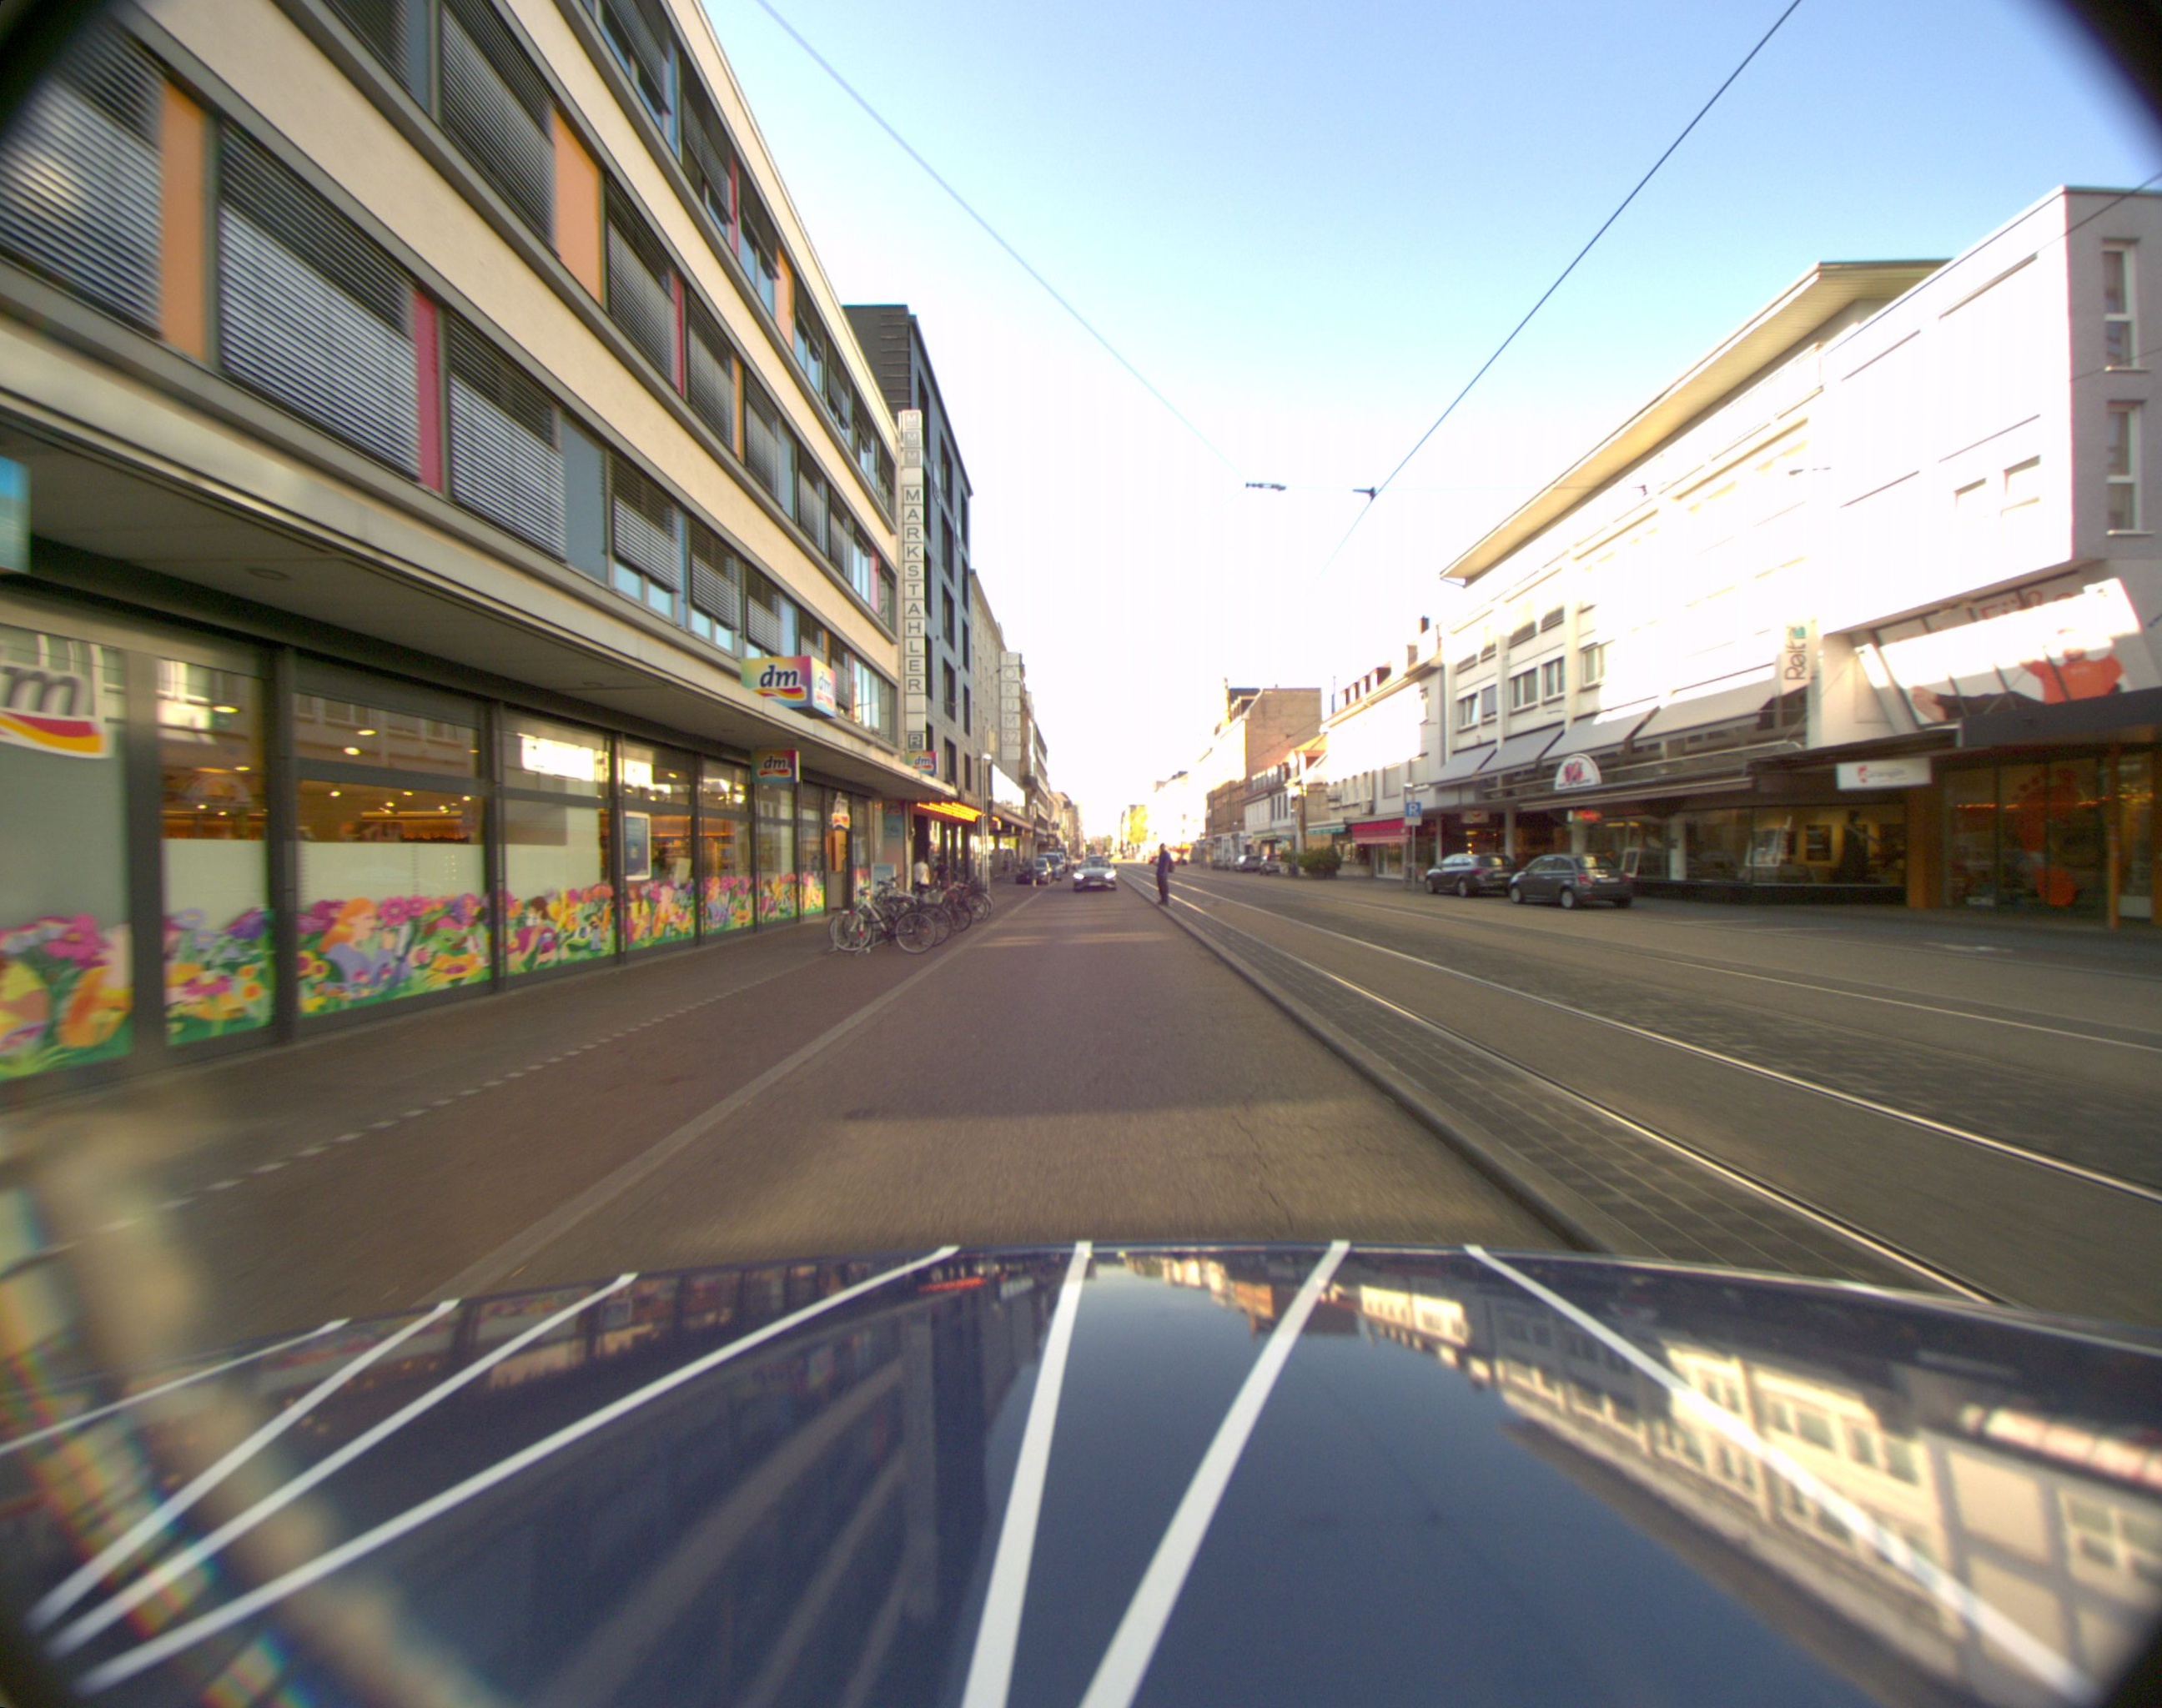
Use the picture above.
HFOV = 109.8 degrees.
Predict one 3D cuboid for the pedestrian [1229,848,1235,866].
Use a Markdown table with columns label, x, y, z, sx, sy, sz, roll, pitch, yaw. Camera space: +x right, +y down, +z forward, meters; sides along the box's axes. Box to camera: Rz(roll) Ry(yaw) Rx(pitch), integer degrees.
| label | x | y | z | sx | sy | sz | roll | pitch | yaw |
| --- | --- | --- | --- | --- | --- | --- | --- | --- | --- |
| pedestrian | 15.892 | 0.303 | 80.055 | 0.581 | 1.795 | 0.659 | -3 | 1 | 13 |

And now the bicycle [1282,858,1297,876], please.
| label | x | y | z | sx | sy | sz | roll | pitch | yaw |
| --- | --- | --- | --- | --- | --- | --- | --- | --- | --- |
| bicycle | 13.383 | 0.805 | 48.849 | 0.519 | 1.084 | 1.716 | -3 | 1 | 1 |

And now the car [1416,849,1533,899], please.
| label | x | y | z | sx | sy | sz | roll | pitch | yaw |
| --- | --- | --- | --- | --- | --- | --- | --- | --- | --- |
| car | 13.856 | 0.646 | 27.140 | 1.741 | 1.514 | 4.851 | -3 | 1 | 2 |

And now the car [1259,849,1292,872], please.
| label | x | y | z | sx | sy | sz | roll | pitch | yaw |
| --- | --- | --- | --- | --- | --- | --- | --- | --- | --- |
| car | 14.241 | 0.468 | 55.825 | 1.701 | 1.594 | 2.891 | -2 | 1 | 1 |

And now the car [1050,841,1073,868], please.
| label | x | y | z | sx | sy | sz | roll | pitch | yaw |
| --- | --- | --- | --- | --- | --- | --- | --- | --- | --- |
| car | -1.951 | 0.127 | 76.637 | 2.051 | 2.486 | 5.687 | -3 | -1 | 0 |

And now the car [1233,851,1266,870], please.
| label | x | y | z | sx | sy | sz | roll | pitch | yaw |
| --- | --- | --- | --- | --- | --- | --- | --- | --- | --- |
| car | 14.493 | 0.543 | 65.466 | 1.822 | 1.505 | 4.762 | -2 | 1 | 1 |

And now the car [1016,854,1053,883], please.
| label | x | y | z | sx | sy | sz | roll | pitch | yaw |
| --- | --- | --- | --- | --- | --- | --- | --- | --- | --- |
| car | -2.550 | 0.781 | 42.813 | 1.726 | 1.476 | 4.416 | 1 | 1 | 1 |

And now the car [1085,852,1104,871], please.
| label | x | y | z | sx | sy | sz | roll | pitch | yaw |
| --- | --- | --- | --- | --- | --- | --- | --- | --- | --- |
| car | 1.231 | 0.679 | 68.102 | 1.630 | 1.593 | 3.330 | 1 | 1 | 1 |

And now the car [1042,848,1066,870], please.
| label | x | y | z | sx | sy | sz | roll | pitch | yaw |
| --- | --- | --- | --- | --- | --- | --- | --- | --- | --- |
| car | -2.460 | 0.451 | 69.546 | 2.051 | 1.899 | 4.877 | 0 | 1 | -2 |

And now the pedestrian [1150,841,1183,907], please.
| label | x | y | z | sx | sy | sz | roll | pitch | yaw |
| --- | --- | --- | --- | --- | --- | --- | --- | --- | --- |
| pedestrian | 2.428 | 0.557 | 21.632 | 0.806 | 1.827 | 0.746 | 1 | 1 | 0 |

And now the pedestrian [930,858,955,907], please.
| label | x | y | z | sx | sy | sz | roll | pitch | yaw |
| --- | --- | --- | --- | --- | --- | --- | --- | --- | --- |
| pedestrian | -4.328 | 0.878 | 23.703 | 0.584 | 1.485 | 0.523 | 0 | 1 | -35 |

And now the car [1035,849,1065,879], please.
| label | x | y | z | sx | sy | sz | roll | pitch | yaw |
| --- | --- | --- | --- | --- | --- | --- | --- | --- | --- |
| car | -1.990 | 0.613 | 49.188 | 1.821 | 1.849 | 4.548 | 0 | 1 | -2 |

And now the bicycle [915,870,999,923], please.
| label | x | y | z | sx | sy | sz | roll | pitch | yaw |
| --- | --- | --- | --- | --- | --- | --- | --- | --- | --- |
| bicycle | -3.069 | 1.048 | 18.909 | 2.043 | 1.267 | 0.524 | 0 | 1 | -9 |

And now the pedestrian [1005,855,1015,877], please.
| label | x | y | z | sx | sy | sz | roll | pitch | yaw |
| --- | --- | --- | --- | --- | --- | --- | --- | --- | --- |
| pedestrian | -4.898 | 0.828 | 52.636 | 0.577 | 1.431 | 0.731 | 1 | 1 | 1 |

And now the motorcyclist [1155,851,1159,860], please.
| label | x | y | z | sx | sy | sz | roll | pitch | yaw |
| --- | --- | --- | --- | --- | --- | --- | --- | --- | --- |
| motorcyclist | 11.793 | 0.211 | 117.630 | 0.540 | 1.296 | 0.655 | 1 | 1 | 1 |

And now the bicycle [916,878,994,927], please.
| label | x | y | z | sx | sy | sz | roll | pitch | yaw |
| --- | --- | --- | --- | --- | --- | --- | --- | --- | --- |
| bicycle | -2.969 | 1.133 | 18.011 | 1.778 | 1.124 | 0.478 | 0 | 1 | -4 |

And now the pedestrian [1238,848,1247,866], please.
| label | x | y | z | sx | sy | sz | roll | pitch | yaw |
| --- | --- | --- | --- | --- | --- | --- | --- | --- | --- |
| pedestrian | 15.886 | 0.282 | 74.713 | 0.658 | 1.752 | 0.581 | -3 | 1 | -7 |

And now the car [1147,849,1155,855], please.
| label | x | y | z | sx | sy | sz | roll | pitch | yaw |
| --- | --- | --- | --- | --- | --- | --- | --- | --- | --- |
| car | 17.167 | -0.506 | 185.837 | 1.630 | 1.524 | 3.464 | 1 | 1 | 1 |

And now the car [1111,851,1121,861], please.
| label | x | y | z | sx | sy | sz | roll | pitch | yaw |
| --- | --- | --- | --- | --- | --- | --- | --- | --- | --- |
| car | 7.888 | 0.395 | 172.037 | 1.998 | 2.002 | 4.000 | -3 | 1 | 2 |

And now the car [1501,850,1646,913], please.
| label | x | y | z | sx | sy | sz | roll | pitch | yaw |
| --- | --- | --- | --- | --- | --- | --- | --- | --- | --- |
| car | 13.572 | 0.685 | 21.205 | 1.605 | 1.514 | 3.588 | -3 | 1 | -1 |

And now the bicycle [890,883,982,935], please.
| label | x | y | z | sx | sy | sz | roll | pitch | yaw |
| --- | --- | --- | --- | --- | --- | --- | --- | --- | --- |
| bicycle | -2.997 | 1.138 | 15.800 | 1.778 | 1.026 | 0.597 | 0 | 1 | 0 |

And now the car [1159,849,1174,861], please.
| label | x | y | z | sx | sy | sz | roll | pitch | yaw |
| --- | --- | --- | --- | --- | --- | --- | --- | --- | --- |
| car | 11.922 | 0.071 | 106.363 | 1.802 | 1.625 | 3.676 | 0 | 1 | 1 |

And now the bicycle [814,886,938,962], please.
| label | x | y | z | sx | sy | sz | roll | pitch | yaw |
| --- | --- | --- | --- | --- | --- | --- | --- | --- | --- |
| bicycle | -3.256 | 1.113 | 12.181 | 1.792 | 1.153 | 0.669 | 0 | 1 | 0 |

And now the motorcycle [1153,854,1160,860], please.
| label | x | y | z | sx | sy | sz | roll | pitch | yaw |
| --- | --- | --- | --- | --- | --- | --- | --- | --- | --- |
| motorcycle | 11.749 | 0.440 | 117.658 | 0.907 | 0.987 | 1.935 | 0 | 1 | 1 |

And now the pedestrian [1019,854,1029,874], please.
| label | x | y | z | sx | sy | sz | roll | pitch | yaw |
| --- | --- | --- | --- | --- | --- | --- | --- | --- | --- |
| pedestrian | -4.389 | 0.753 | 58.750 | 0.697 | 1.499 | 0.814 | -1 | 1 | 1 |

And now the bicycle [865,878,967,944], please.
| label | x | y | z | sx | sy | sz | roll | pitch | yaw |
| --- | --- | --- | --- | --- | --- | --- | --- | --- | --- |
| bicycle | -3.093 | 1.060 | 14.347 | 1.792 | 1.210 | 0.587 | 0 | 1 | 0 |

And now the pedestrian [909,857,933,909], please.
| label | x | y | z | sx | sy | sz | roll | pitch | yaw |
| --- | --- | --- | --- | --- | --- | --- | --- | --- | --- |
| pedestrian | -4.917 | 0.886 | 23.330 | 0.583 | 1.576 | 0.597 | 1 | 1 | -1 |

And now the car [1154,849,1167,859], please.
| label | x | y | z | sx | sy | sz | roll | pitch | yaw |
| --- | --- | --- | --- | --- | --- | --- | --- | --- | --- |
| car | 12.826 | -0.040 | 122.794 | 1.667 | 1.521 | 4.000 | 0 | 1 | 1 |

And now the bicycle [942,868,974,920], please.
| label | x | y | z | sx | sy | sz | roll | pitch | yaw |
| --- | --- | --- | --- | --- | --- | --- | --- | --- | --- |
| bicycle | -3.217 | 1.034 | 19.976 | 0.583 | 1.250 | 1.601 | 1 | 1 | -1 |

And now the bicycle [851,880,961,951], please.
| label | x | y | z | sx | sy | sz | roll | pitch | yaw |
| --- | --- | --- | --- | --- | --- | --- | --- | --- | --- |
| bicycle | -3.076 | 1.081 | 13.485 | 1.792 | 1.210 | 0.669 | 0 | 1 | 0 |

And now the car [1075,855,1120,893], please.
| label | x | y | z | sx | sy | sz | roll | pitch | yaw |
| --- | --- | --- | --- | --- | --- | --- | --- | --- | --- |
| car | 0.698 | 0.818 | 33.374 | 1.858 | 1.463 | 4.786 | -1 | 1 | 1 |
